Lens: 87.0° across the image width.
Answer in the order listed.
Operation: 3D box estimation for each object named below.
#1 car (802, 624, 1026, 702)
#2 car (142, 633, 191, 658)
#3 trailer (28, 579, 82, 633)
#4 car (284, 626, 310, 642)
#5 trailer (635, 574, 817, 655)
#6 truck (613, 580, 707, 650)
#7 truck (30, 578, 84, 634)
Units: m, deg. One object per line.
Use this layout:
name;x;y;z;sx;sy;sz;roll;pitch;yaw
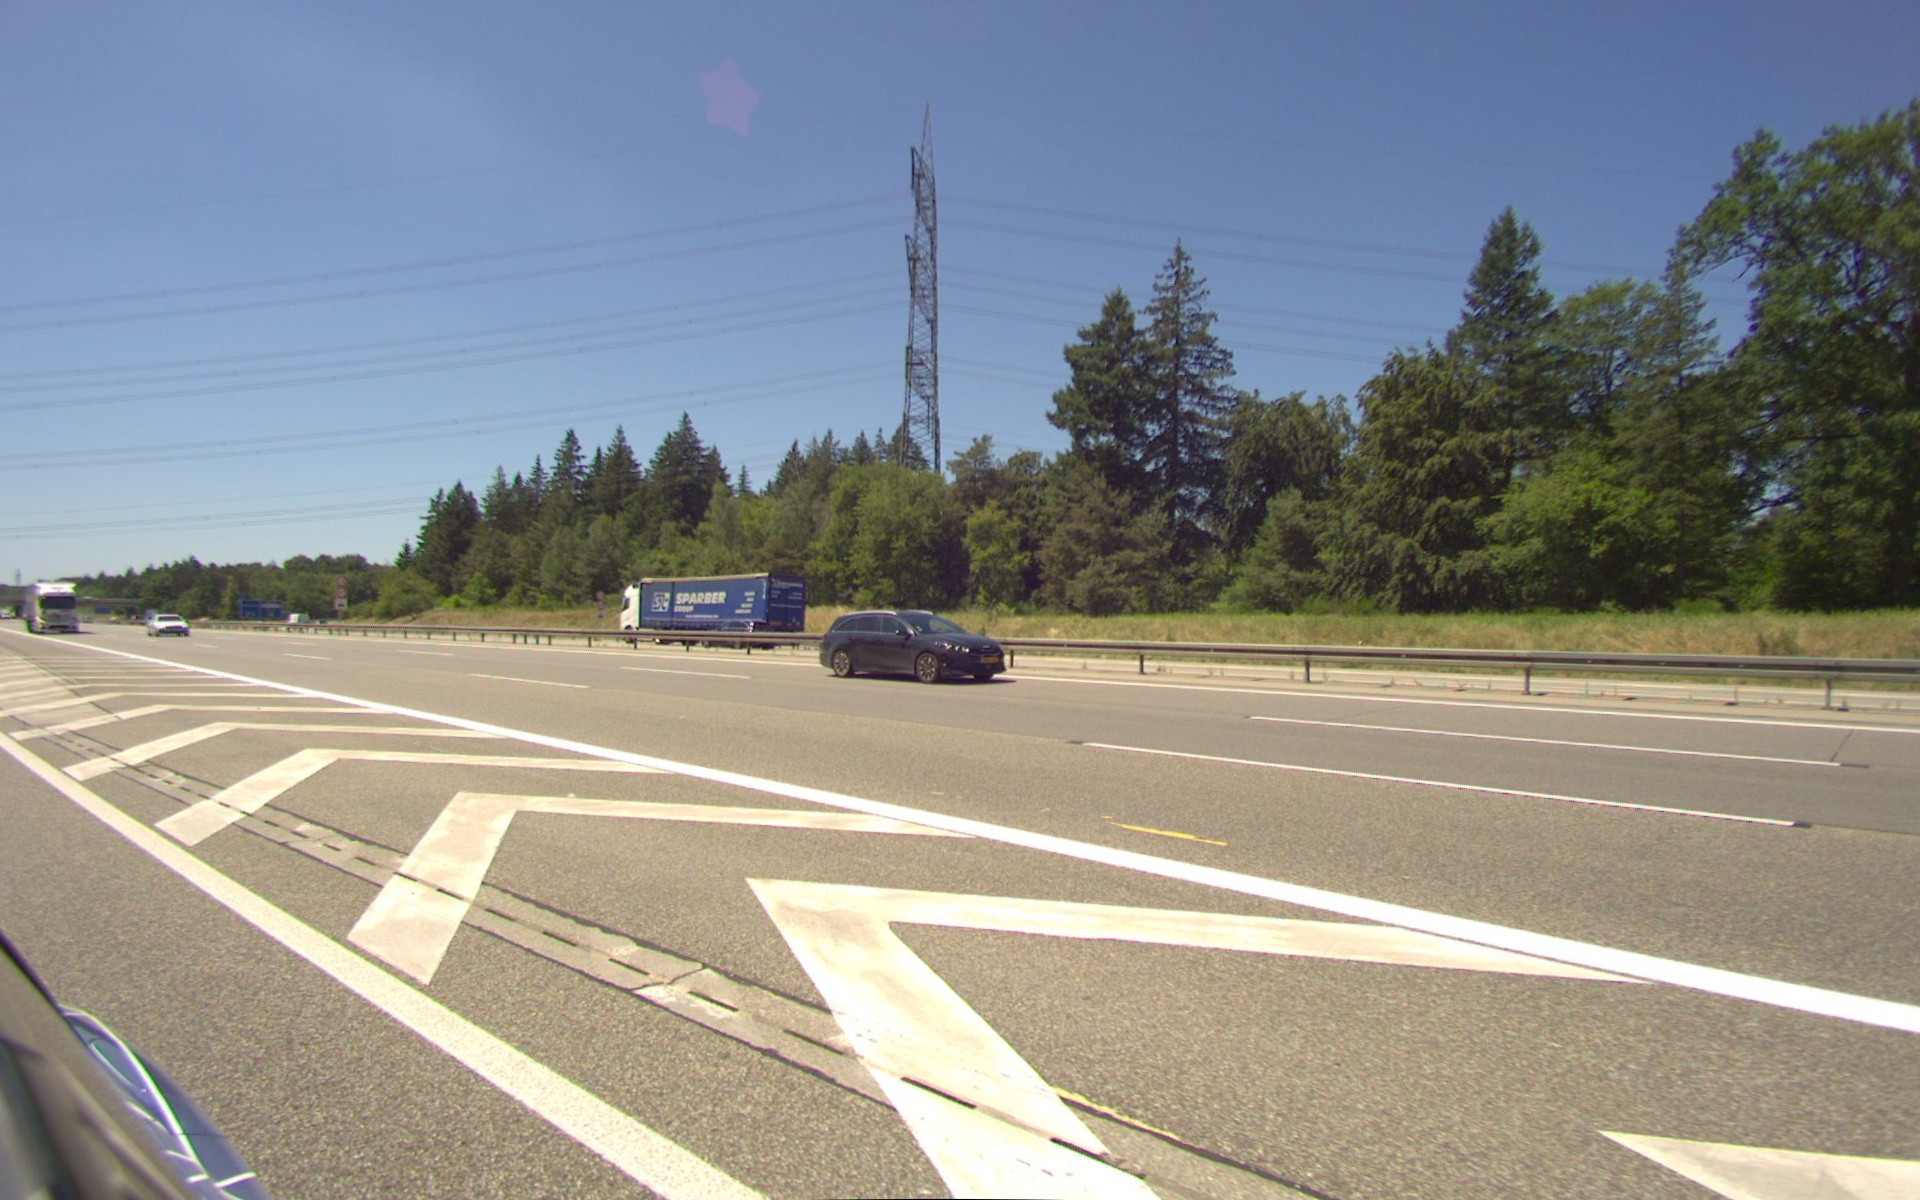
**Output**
car;-1.087;1.241;21.358;5.001;1.442;1.811;-2;-2;45
car;-54.276;3.087;69.167;5.407;1.515;1.941;0;-1;44
trailer;-74.794;0.649;83.556;2.940;4.174;11.706;2;-2;-43
car;-111.497;5.705;170.218;6.459;2.534;2.279;-2;-2;44
trailer;-13.982;0.900;58.986;13.987;4.204;3.167;-1;-3;44
truck;-18.992;0.976;63.853;5.723;4.204;3.167;-1;-3;43
truck;-70.724;0.534;79.235;2.937;4.174;5.353;2;-2;-43
